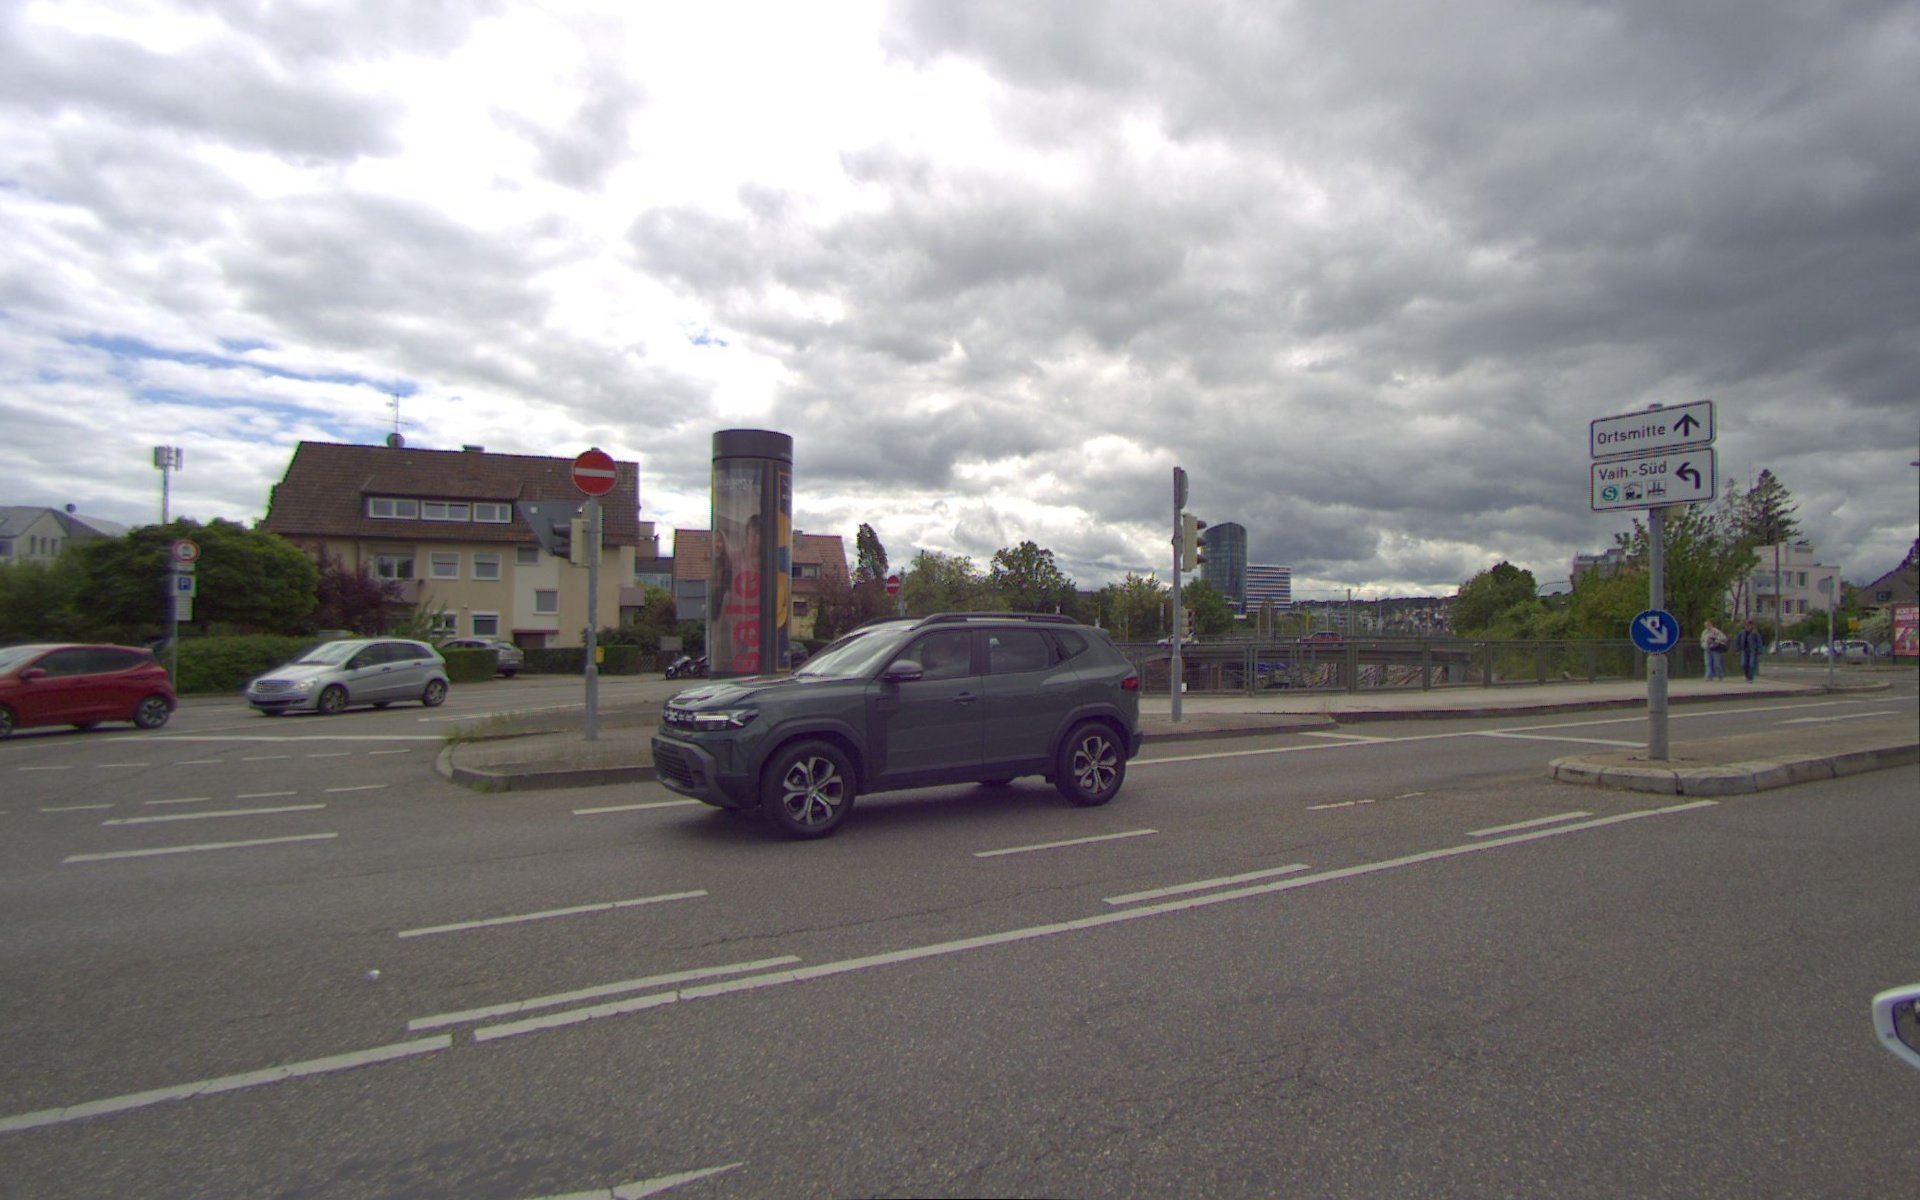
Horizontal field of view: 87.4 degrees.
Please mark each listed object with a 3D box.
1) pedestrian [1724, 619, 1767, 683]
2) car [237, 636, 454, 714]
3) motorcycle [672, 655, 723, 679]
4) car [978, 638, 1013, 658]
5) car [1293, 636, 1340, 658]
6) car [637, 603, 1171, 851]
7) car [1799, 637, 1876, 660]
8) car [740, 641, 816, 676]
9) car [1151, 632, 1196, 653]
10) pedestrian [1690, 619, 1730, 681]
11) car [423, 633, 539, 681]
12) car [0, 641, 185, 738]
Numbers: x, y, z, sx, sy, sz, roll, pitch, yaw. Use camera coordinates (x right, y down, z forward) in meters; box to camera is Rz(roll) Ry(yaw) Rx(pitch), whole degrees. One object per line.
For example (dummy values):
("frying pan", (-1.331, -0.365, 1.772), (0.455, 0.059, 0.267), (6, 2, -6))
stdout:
("pedestrian", (20.971, 1.354, 26.806), (1.061, 1.655, 0.651), (1, -1, -37))
("car", (-13.456, 1.644, 22.331), (1.614, 1.555, 4.133), (-2, -4, 15))
("motorcycle", (-11.420, 2.908, 43.727), (2.084, 1.012, 0.702), (1, -6, -12))
("car", (2.954, 3.904, 82.369), (1.862, 1.628, 4.378), (-1, -2, 17))
("car", (32.655, 4.283, 92.018), (3.923, 1.684, 1.797), (2, 1, 23))
("car", (-0.388, 0.930, 8.607), (4.232, 1.647, 1.813), (1, -3, -32))
("car", (60.353, 3.302, 69.112), (3.924, 1.574, 1.801), (0, -2, -5))
("car", (-9.065, 2.907, 50.477), (1.960, 1.628, 4.378), (-1, -2, 17))
("car", (20.565, 4.052, 96.729), (3.928, 1.685, 1.733), (2, 1, 30))
("pedestrian", (20.494, 1.354, 27.454), (0.825, 1.655, 0.651), (1, -1, -36))
("car", (-18.644, 2.180, 39.125), (3.920, 1.602, 1.787), (2, 1, 18))
("car", (-15.197, 1.443, 16.438), (1.739, 1.465, 3.706), (-2, -4, 13))
